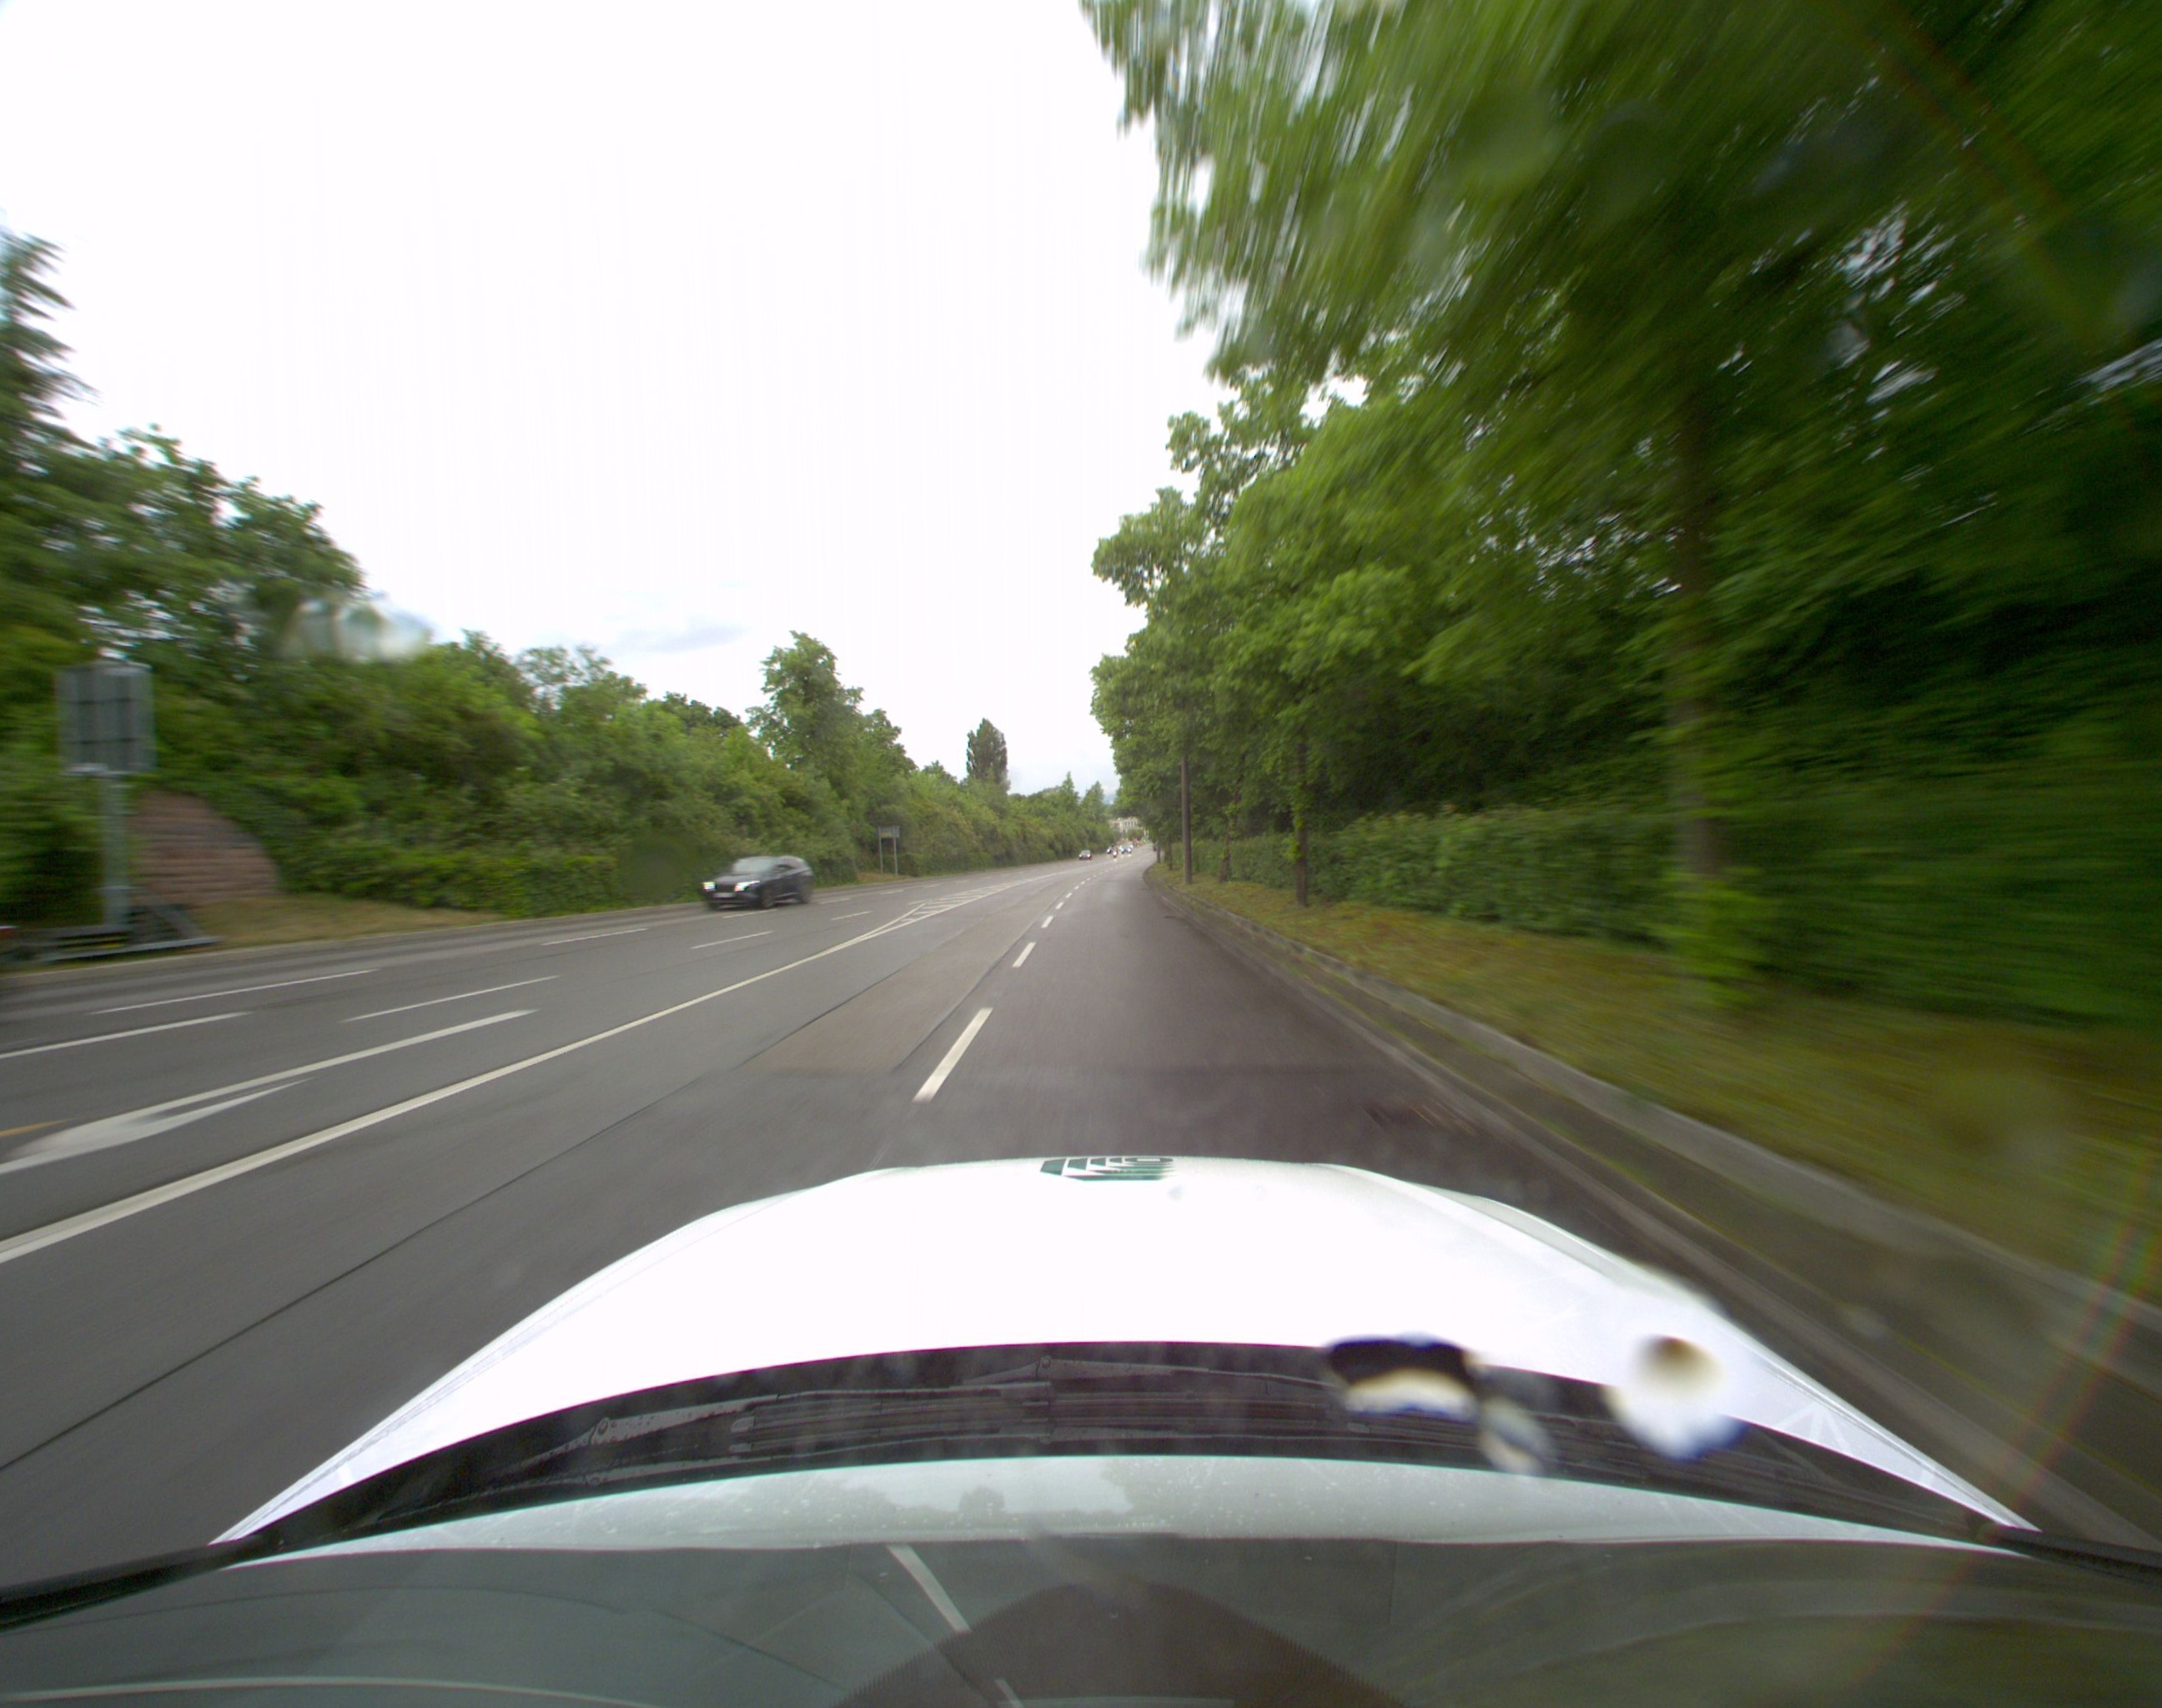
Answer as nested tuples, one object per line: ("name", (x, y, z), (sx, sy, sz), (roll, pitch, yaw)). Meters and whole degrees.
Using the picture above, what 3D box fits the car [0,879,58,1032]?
("car", (-11.390, 1.012, 6.408), (1.667, 1.467, 3.865), (-1, 0, 3))

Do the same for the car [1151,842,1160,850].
("car", (17.943, -1.882, 196.402), (1.838, 1.702, 3.803), (0, 0, 9))

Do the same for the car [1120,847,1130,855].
("car", (9.292, -0.689, 171.474), (1.803, 1.657, 4.603), (-1, 0, 6))

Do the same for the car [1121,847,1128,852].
("car", (11.918, -1.307, 222.012), (1.750, 1.381, 4.847), (0, 1, 7))

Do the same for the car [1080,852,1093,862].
("car", (0.814, 0.426, 120.915), (1.541, 1.437, 3.702), (-1, 0, 6))

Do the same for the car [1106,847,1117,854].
("car", (6.553, -0.707, 173.543), (1.889, 1.552, 4.640), (0, 0, 7))

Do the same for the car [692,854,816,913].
("car", (-10.031, 0.844, 25.426), (1.792, 1.606, 4.433), (-1, 0, 4))
